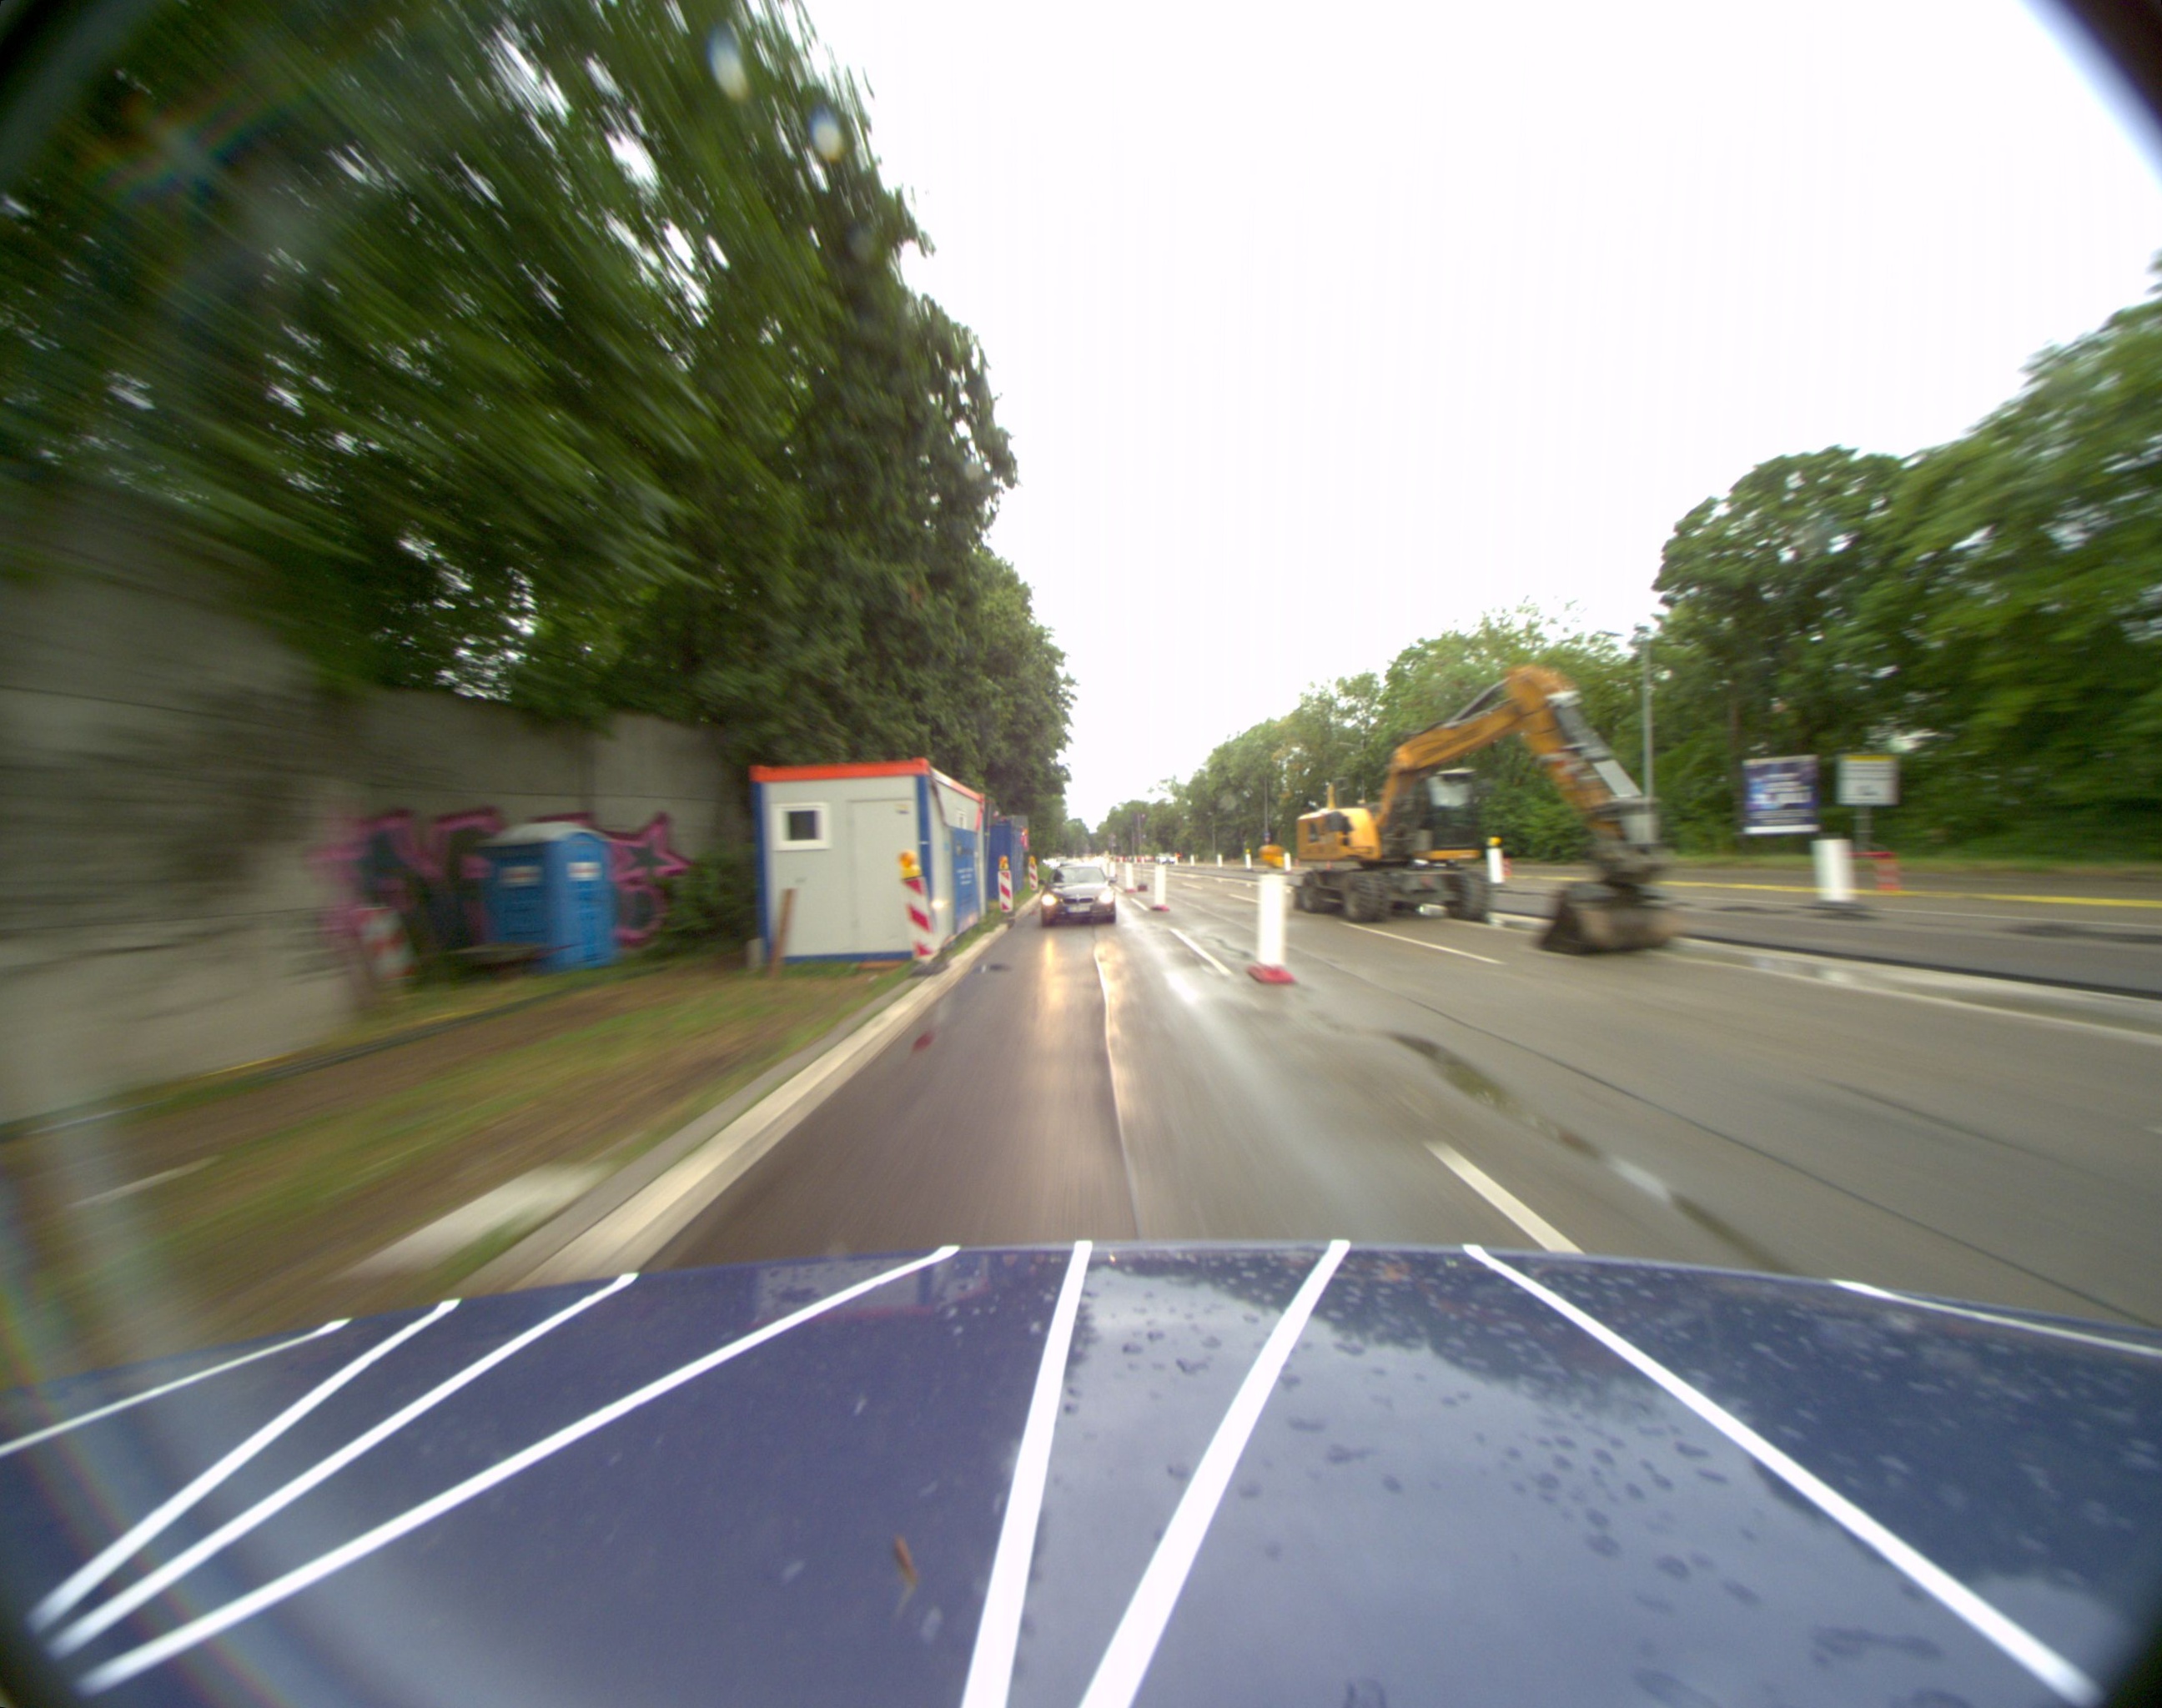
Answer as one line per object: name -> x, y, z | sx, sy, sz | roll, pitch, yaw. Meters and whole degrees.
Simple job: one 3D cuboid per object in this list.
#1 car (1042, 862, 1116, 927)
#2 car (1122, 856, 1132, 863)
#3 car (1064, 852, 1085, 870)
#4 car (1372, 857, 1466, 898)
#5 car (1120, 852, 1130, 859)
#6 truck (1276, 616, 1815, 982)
car -> -0.034, 0.939, 19.416 | 1.658, 1.409, 4.129 | -2, 0, 0
car -> 10.502, 1.203, 175.222 | 1.781, 1.479, 4.195 | -2, 0, -3
car -> -0.646, 0.679, 75.166 | 1.999, 1.707, 3.999 | -1, 0, -1
car -> 15.055, 1.007, 34.148 | 1.999, 1.619, 4.811 | -2, 0, 0
car -> 11.424, 0.516, 198.549 | 2.027, 1.715, 5.012 | -3, 0, -1
truck -> 6.940, -0.649, 14.398 | 2.906, 4.234, 10.752 | -3, 0, -4
